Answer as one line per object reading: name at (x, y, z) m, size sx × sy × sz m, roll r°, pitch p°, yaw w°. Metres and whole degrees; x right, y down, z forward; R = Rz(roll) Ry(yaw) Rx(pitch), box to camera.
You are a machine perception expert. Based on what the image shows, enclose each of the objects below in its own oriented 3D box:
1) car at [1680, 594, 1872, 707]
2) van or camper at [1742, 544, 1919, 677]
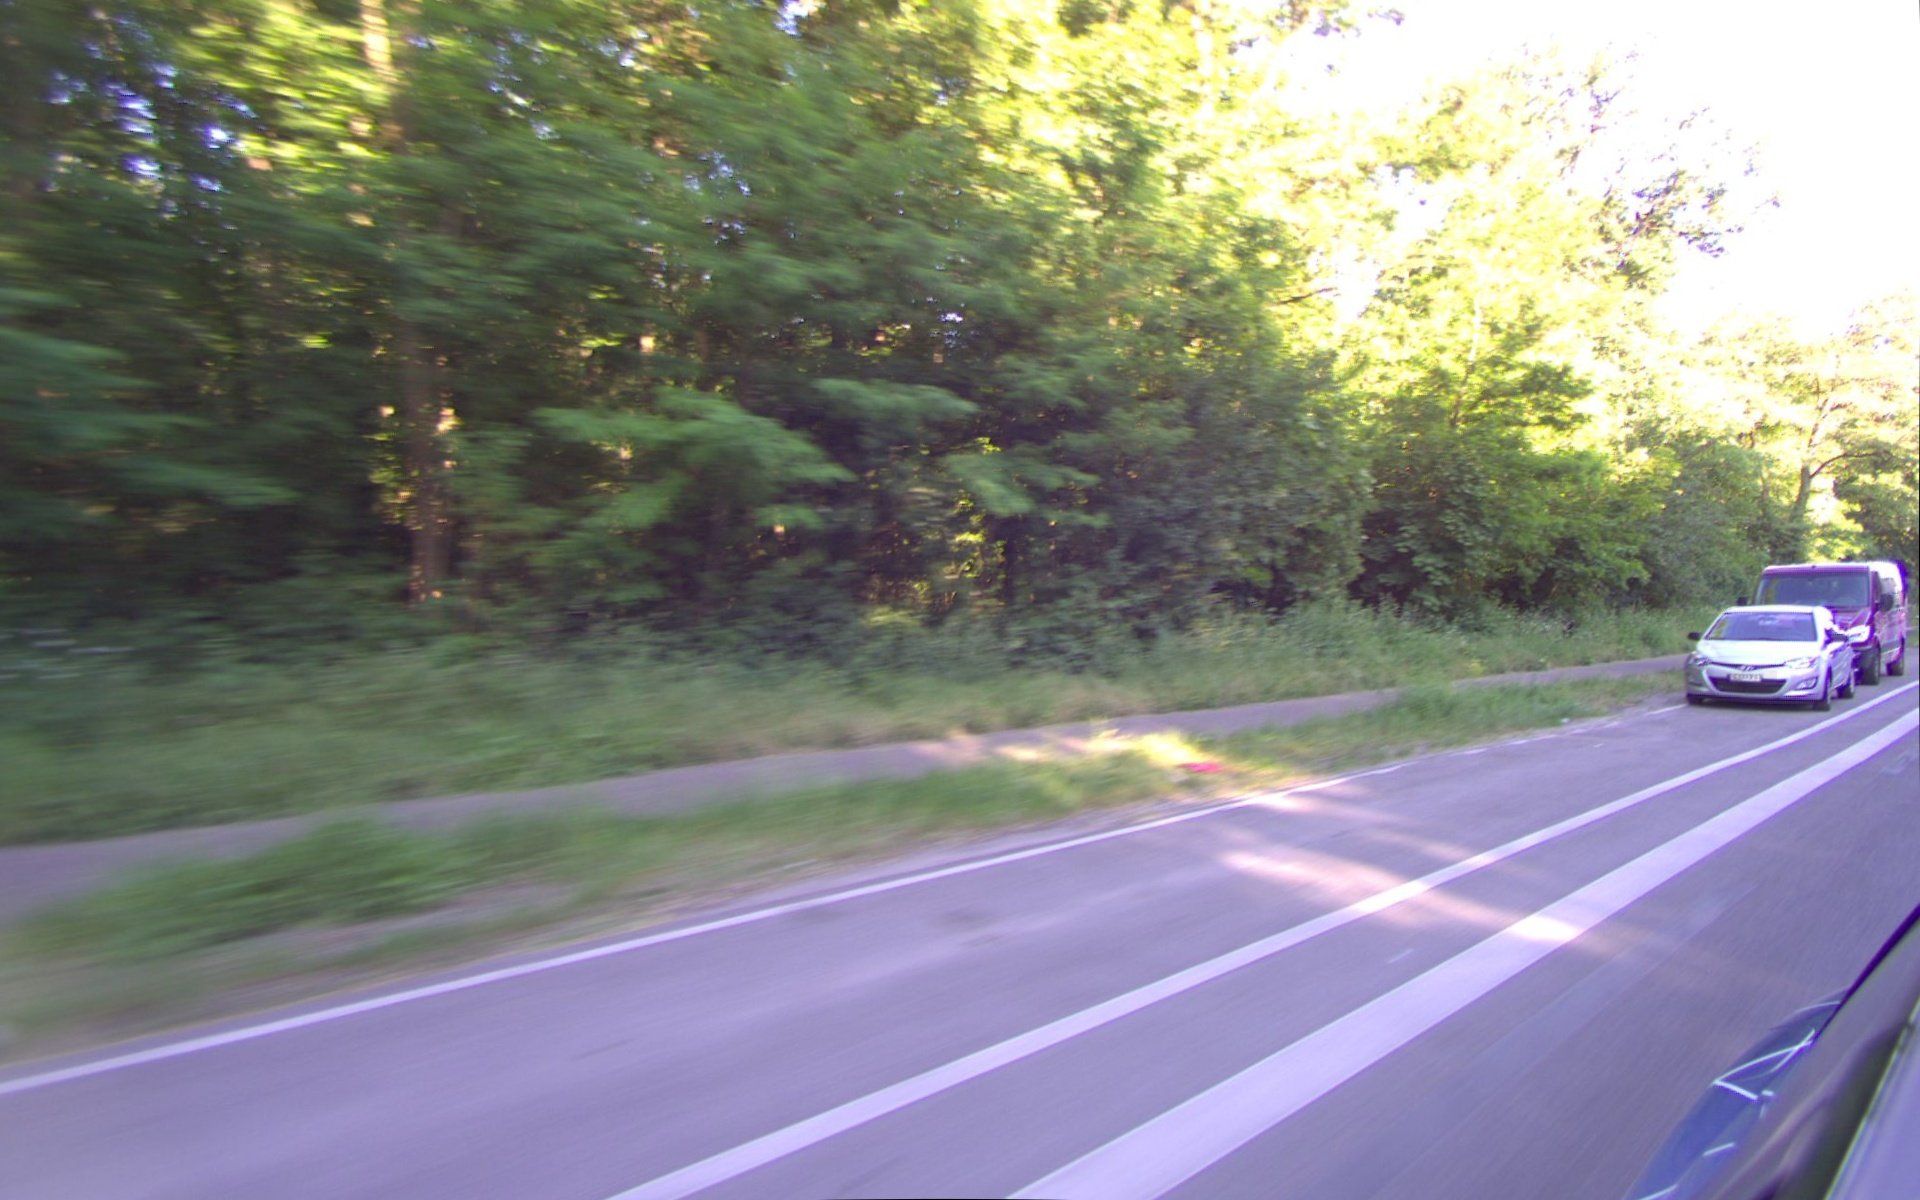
car at (12.736, 0.682, 15.715) m, size 3.932 × 1.534 × 1.749 m, roll 0°, pitch -1°, yaw -43°
van or camper at (17.833, 0.148, 20.500) m, size 5.936 × 2.341 × 2.038 m, roll 0°, pitch 2°, yaw -42°
